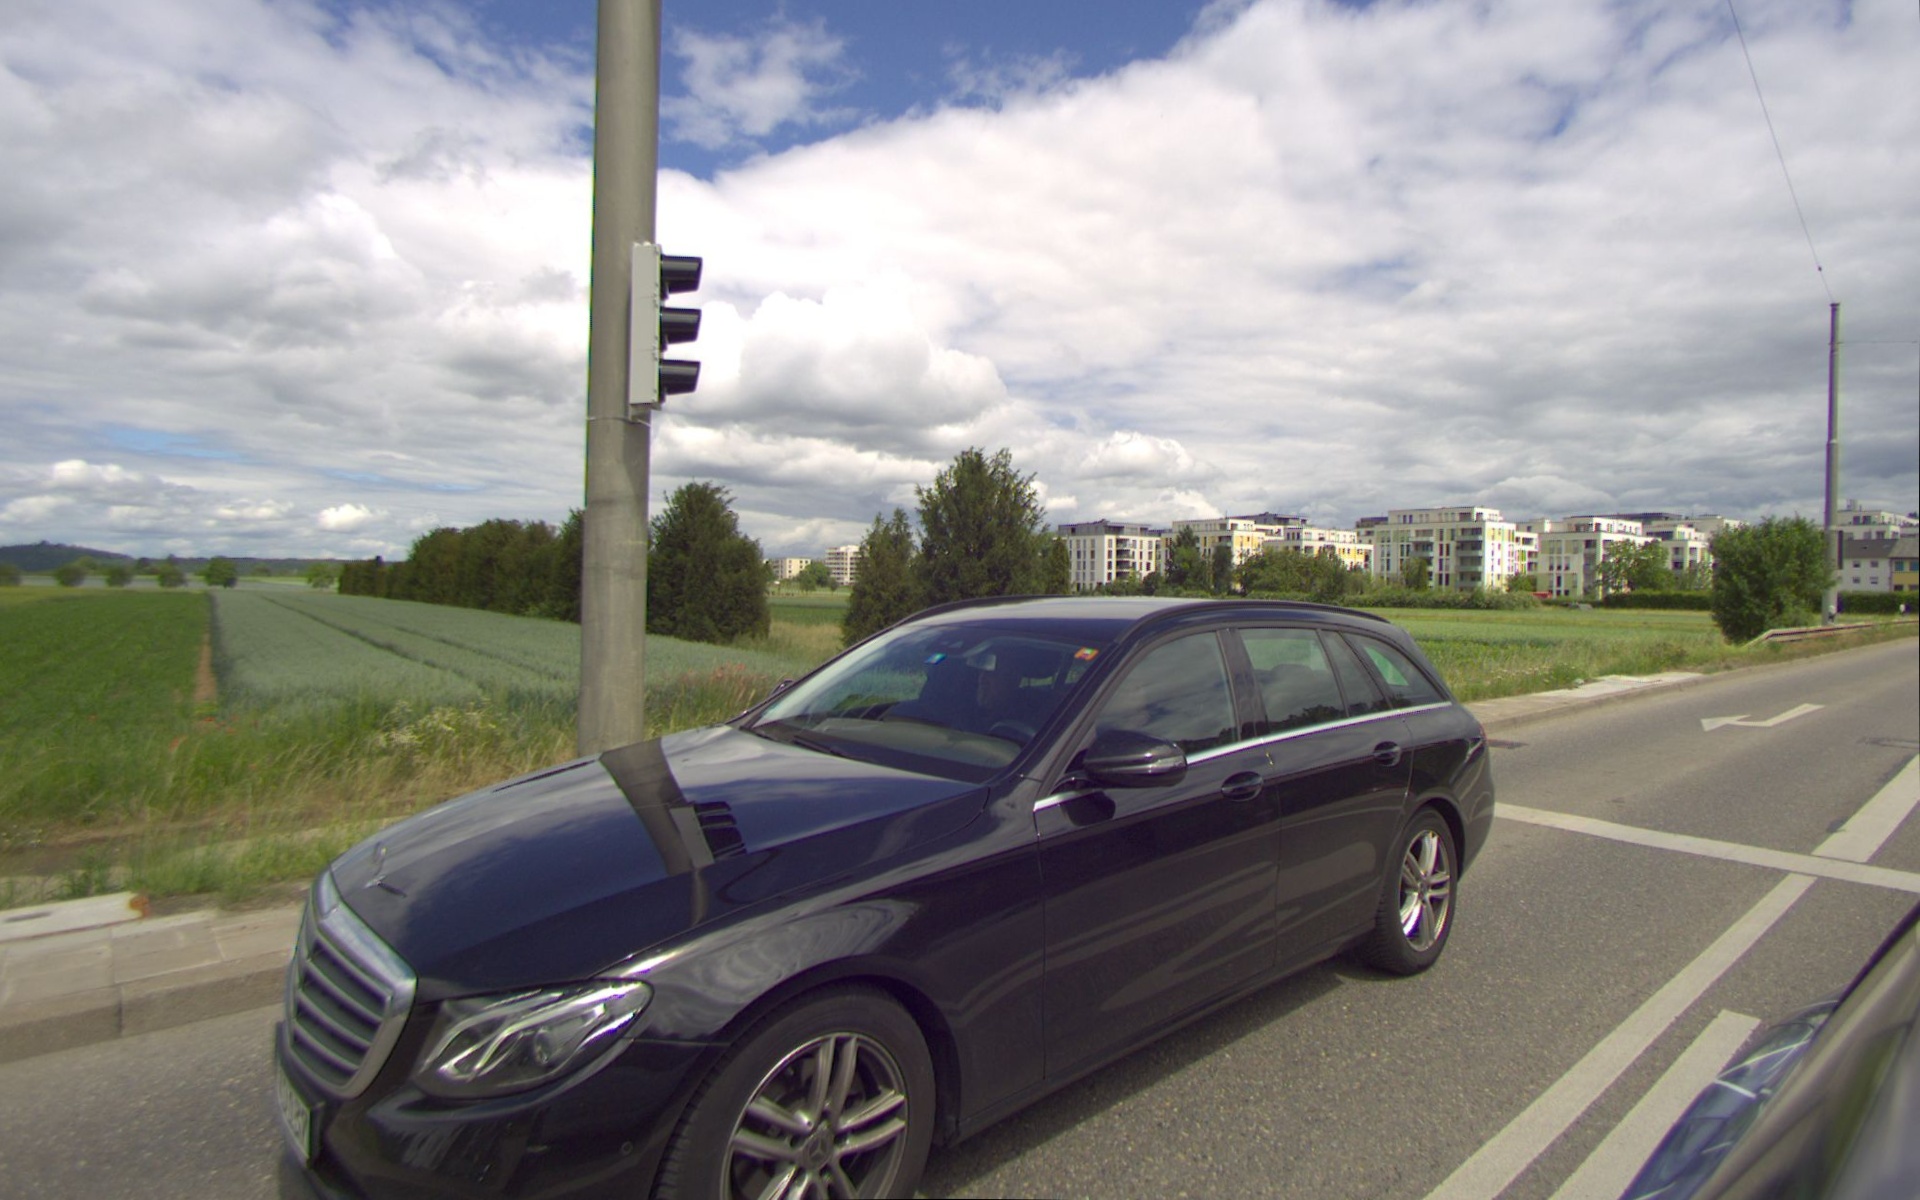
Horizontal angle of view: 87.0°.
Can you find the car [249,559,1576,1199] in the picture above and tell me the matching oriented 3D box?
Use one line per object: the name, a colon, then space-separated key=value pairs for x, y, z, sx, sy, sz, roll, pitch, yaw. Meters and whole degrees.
car: x=0.459 y=0.644 z=3.928 sx=5.109 sy=1.459 sz=1.876 roll=0 pitch=1 yaw=-42
